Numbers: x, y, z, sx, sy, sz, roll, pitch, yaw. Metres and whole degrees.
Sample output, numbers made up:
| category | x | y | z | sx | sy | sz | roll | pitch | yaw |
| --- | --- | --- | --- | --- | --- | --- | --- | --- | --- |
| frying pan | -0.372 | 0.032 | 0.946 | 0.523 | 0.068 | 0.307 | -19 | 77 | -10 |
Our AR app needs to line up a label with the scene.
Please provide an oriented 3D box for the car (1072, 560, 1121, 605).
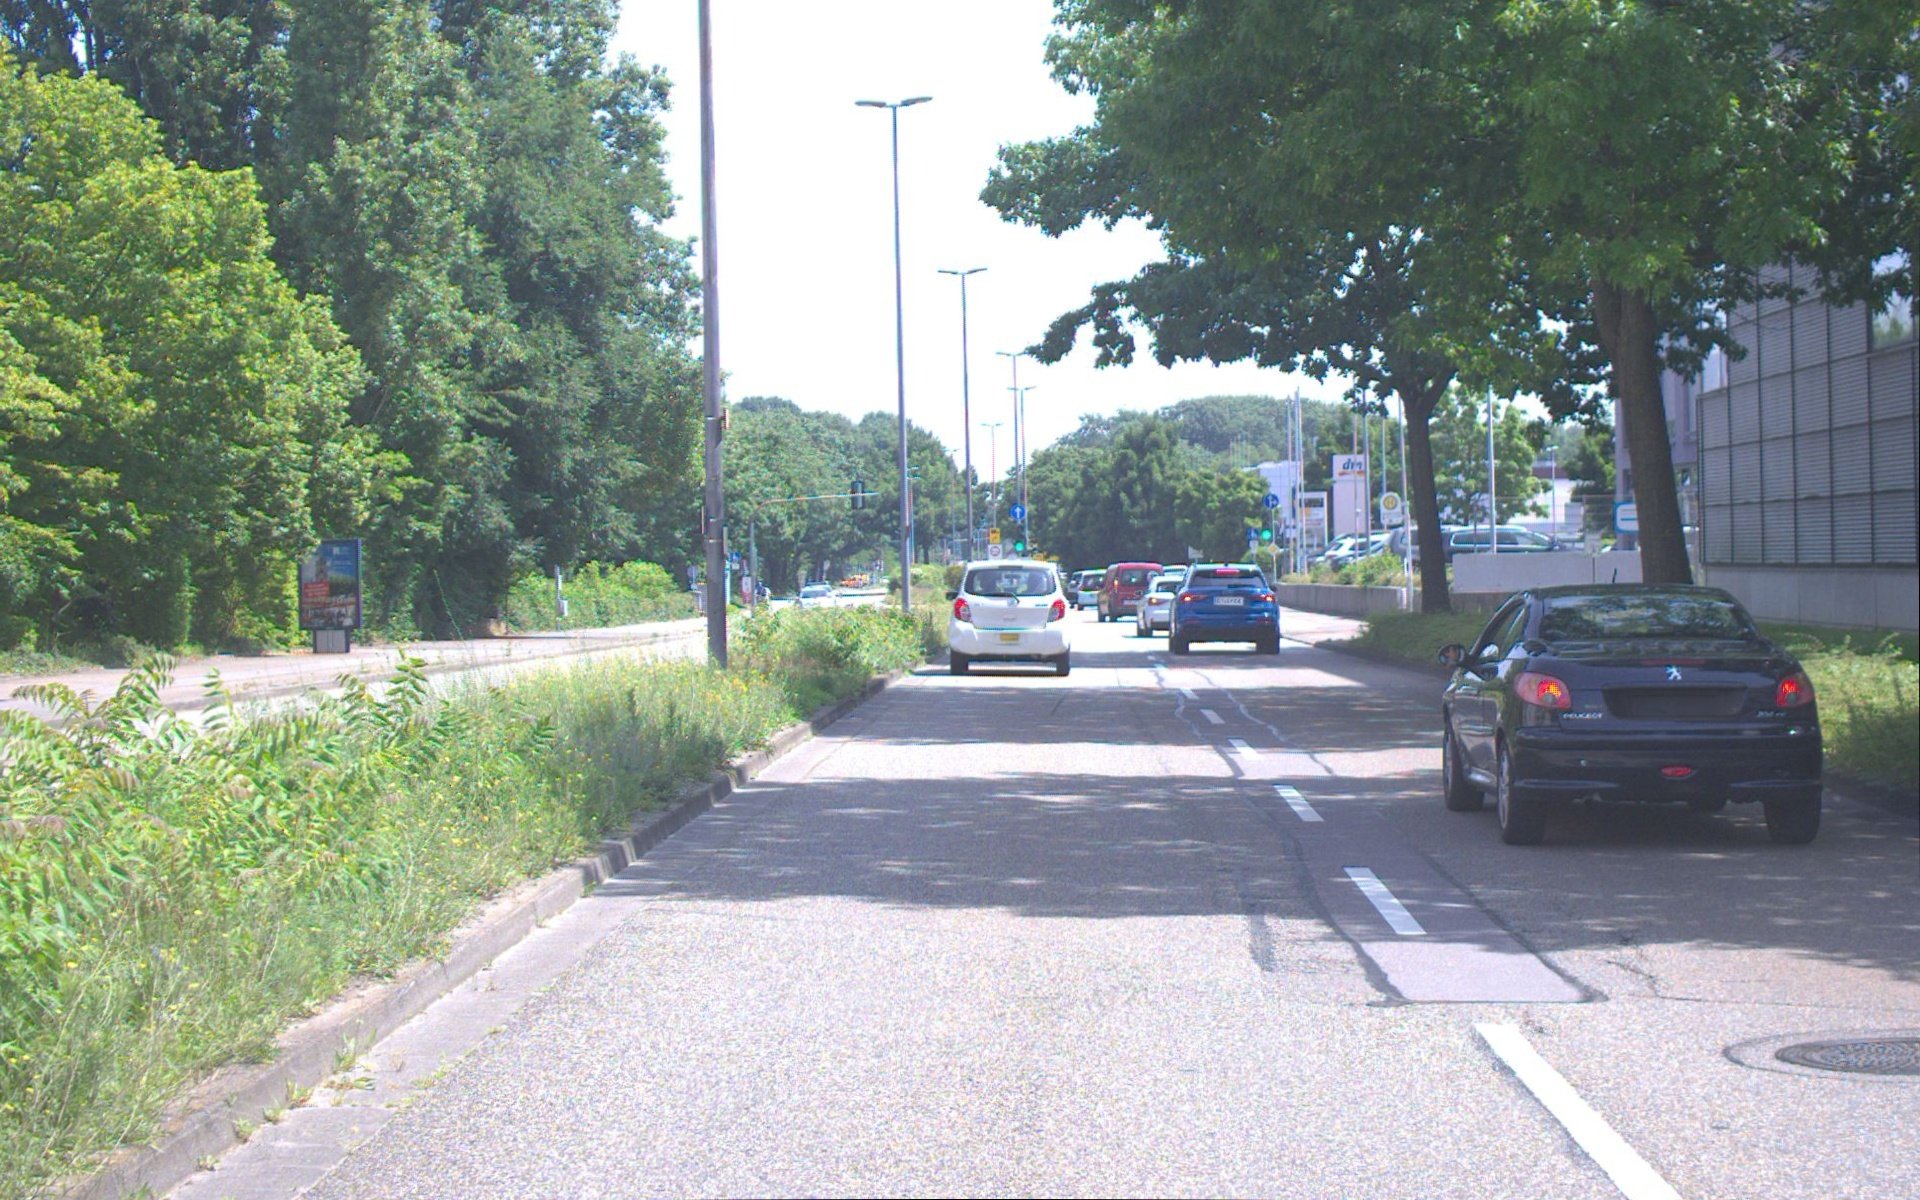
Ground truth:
| category | x | y | z | sx | sy | sz | roll | pitch | yaw |
| --- | --- | --- | --- | --- | --- | --- | --- | --- | --- |
| car | 5.343 | -0.700 | 134.879 | 1.819 | 1.656 | 4.000 | -1 | 1 | 1 |

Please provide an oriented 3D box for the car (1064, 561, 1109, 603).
| category | x | y | z | sx | sy | sz | roll | pitch | yaw |
| --- | --- | --- | --- | --- | --- | --- | --- | --- | --- |
| car | 5.324 | -0.750 | 144.796 | 1.797 | 1.684 | 4.000 | -2 | 0 | 2 |

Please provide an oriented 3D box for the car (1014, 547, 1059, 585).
| category | x | y | z | sx | sy | sz | roll | pitch | yaw |
| --- | --- | --- | --- | --- | --- | --- | --- | --- | --- |
| car | 3.505 | -1.573 | 158.410 | 1.819 | 1.656 | 4.001 | -1 | 1 | -2 |

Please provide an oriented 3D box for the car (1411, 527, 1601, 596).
| category | x | y | z | sx | sy | sz | roll | pitch | yaw |
| --- | --- | --- | --- | --- | --- | --- | --- | --- | --- |
| car | 13.850 | -0.978 | 87.437 | 4.499 | 1.577 | 2.000 | -2 | 0 | 1 |

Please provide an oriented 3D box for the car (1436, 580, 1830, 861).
| category | x | y | z | sx | sy | sz | roll | pitch | yaw |
| --- | --- | --- | --- | --- | --- | --- | --- | --- | --- |
| car | 3.659 | 0.598 | 19.226 | 1.627 | 1.359 | 3.605 | 1 | 1 | 3 |

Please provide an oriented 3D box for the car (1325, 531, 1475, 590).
| category | x | y | z | sx | sy | sz | roll | pitch | yaw |
| --- | --- | --- | --- | --- | --- | --- | --- | --- | --- |
| car | 13.183 | -1.175 | 103.130 | 4.227 | 1.642 | 2.000 | -2 | 0 | 1 |

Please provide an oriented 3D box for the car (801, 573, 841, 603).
| category | x | y | z | sx | sy | sz | roll | pitch | yaw |
| --- | --- | --- | --- | --- | --- | --- | --- | --- | --- |
| car | -6.807 | -0.581 | 168.330 | 1.736 | 1.408 | 4.371 | -1 | 0 | 0 |

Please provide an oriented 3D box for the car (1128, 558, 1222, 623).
| category | x | y | z | sx | sy | sz | roll | pitch | yaw |
| --- | --- | --- | --- | --- | --- | --- | --- | --- | --- |
| car | 4.952 | -0.219 | 79.700 | 1.993 | 1.437 | 4.000 | -1 | 0 | 1 |

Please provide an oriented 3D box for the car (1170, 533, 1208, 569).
| category | x | y | z | sx | sy | sz | roll | pitch | yaw |
| --- | --- | --- | --- | --- | --- | --- | --- | --- | --- |
| car | 13.187 | -2.844 | 197.941 | 1.770 | 2.007 | 3.991 | -2 | 1 | -1 |

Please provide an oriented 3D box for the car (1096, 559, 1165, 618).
| category | x | y | z | sx | sy | sz | roll | pitch | yaw |
| --- | --- | --- | --- | --- | --- | --- | --- | --- | --- |
| car | 5.150 | -0.342 | 104.058 | 1.776 | 1.734 | 4.000 | -1 | 0 | -1 |

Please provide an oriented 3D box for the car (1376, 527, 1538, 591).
| category | x | y | z | sx | sy | sz | roll | pitch | yaw |
| --- | --- | --- | --- | --- | --- | --- | --- | --- | --- |
| car | 13.870 | -1.131 | 96.181 | 4.227 | 1.642 | 2.000 | -2 | 0 | 1 |

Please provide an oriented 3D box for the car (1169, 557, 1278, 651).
| category | x | y | z | sx | sy | sz | roll | pitch | yaw |
| --- | --- | --- | --- | --- | --- | --- | --- | --- | --- |
| car | 4.675 | 0.077 | 60.833 | 1.828 | 1.575 | 3.604 | -1 | 0 | 5 |

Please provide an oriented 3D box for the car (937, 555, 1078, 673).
| category | x | y | z | sx | sy | sz | roll | pitch | yaw |
| --- | --- | --- | --- | --- | --- | --- | --- | --- | --- |
| car | 0.686 | 0.160 | 46.728 | 1.748 | 1.515 | 3.745 | 0 | 1 | 3 |

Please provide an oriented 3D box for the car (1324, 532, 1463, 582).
| category | x | y | z | sx | sy | sz | roll | pitch | yaw |
| --- | --- | --- | --- | --- | --- | --- | --- | --- | --- |
| car | 14.872 | -1.474 | 118.051 | 4.535 | 1.539 | 2.000 | -2 | 0 | 2 |
